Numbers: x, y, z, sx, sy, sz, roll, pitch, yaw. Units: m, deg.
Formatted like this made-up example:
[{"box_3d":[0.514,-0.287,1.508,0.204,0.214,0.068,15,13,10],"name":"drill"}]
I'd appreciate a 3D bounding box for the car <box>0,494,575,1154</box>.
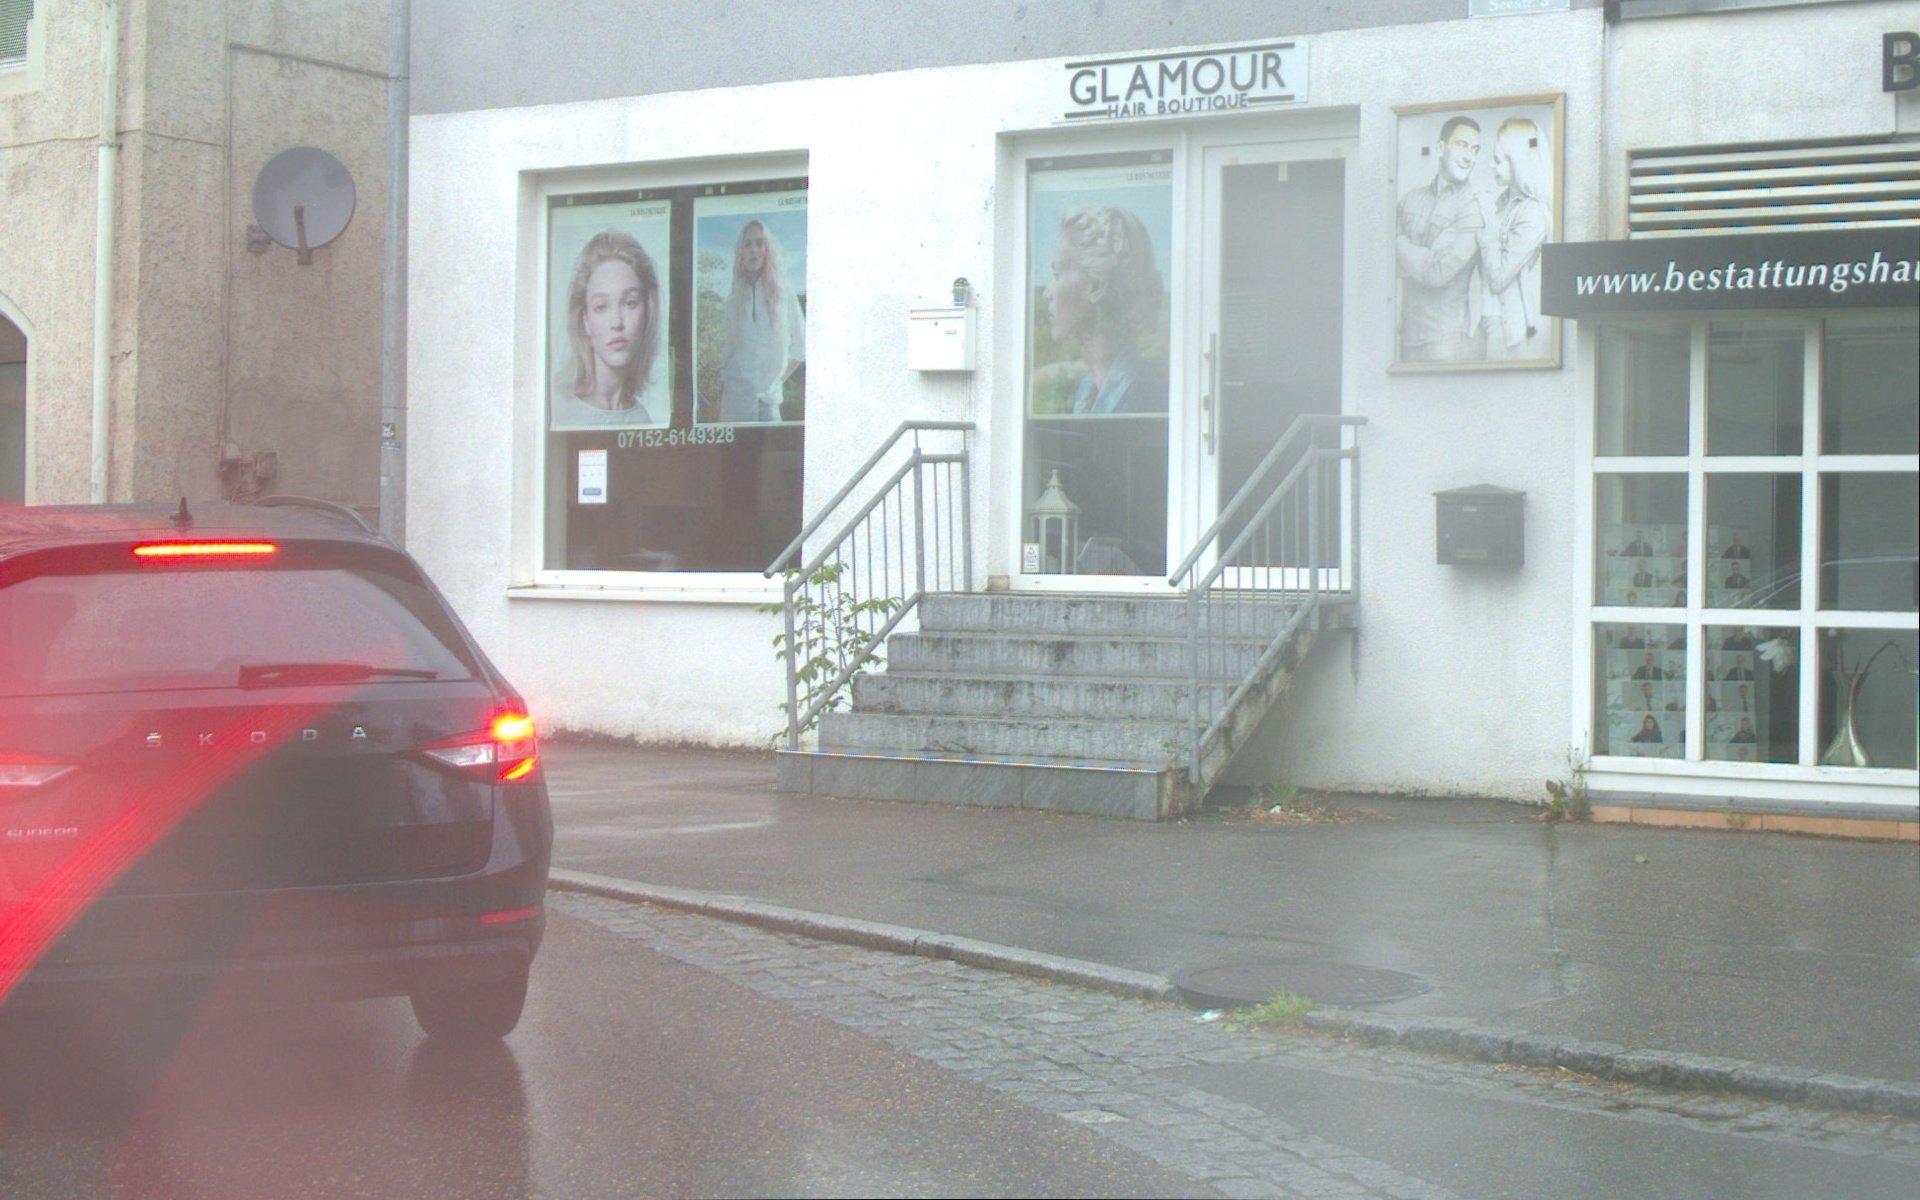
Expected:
[{"box_3d":[-2.558,0.448,9.985,1.732,1.445,4.243,-1,3,-23],"name":"car"}]
